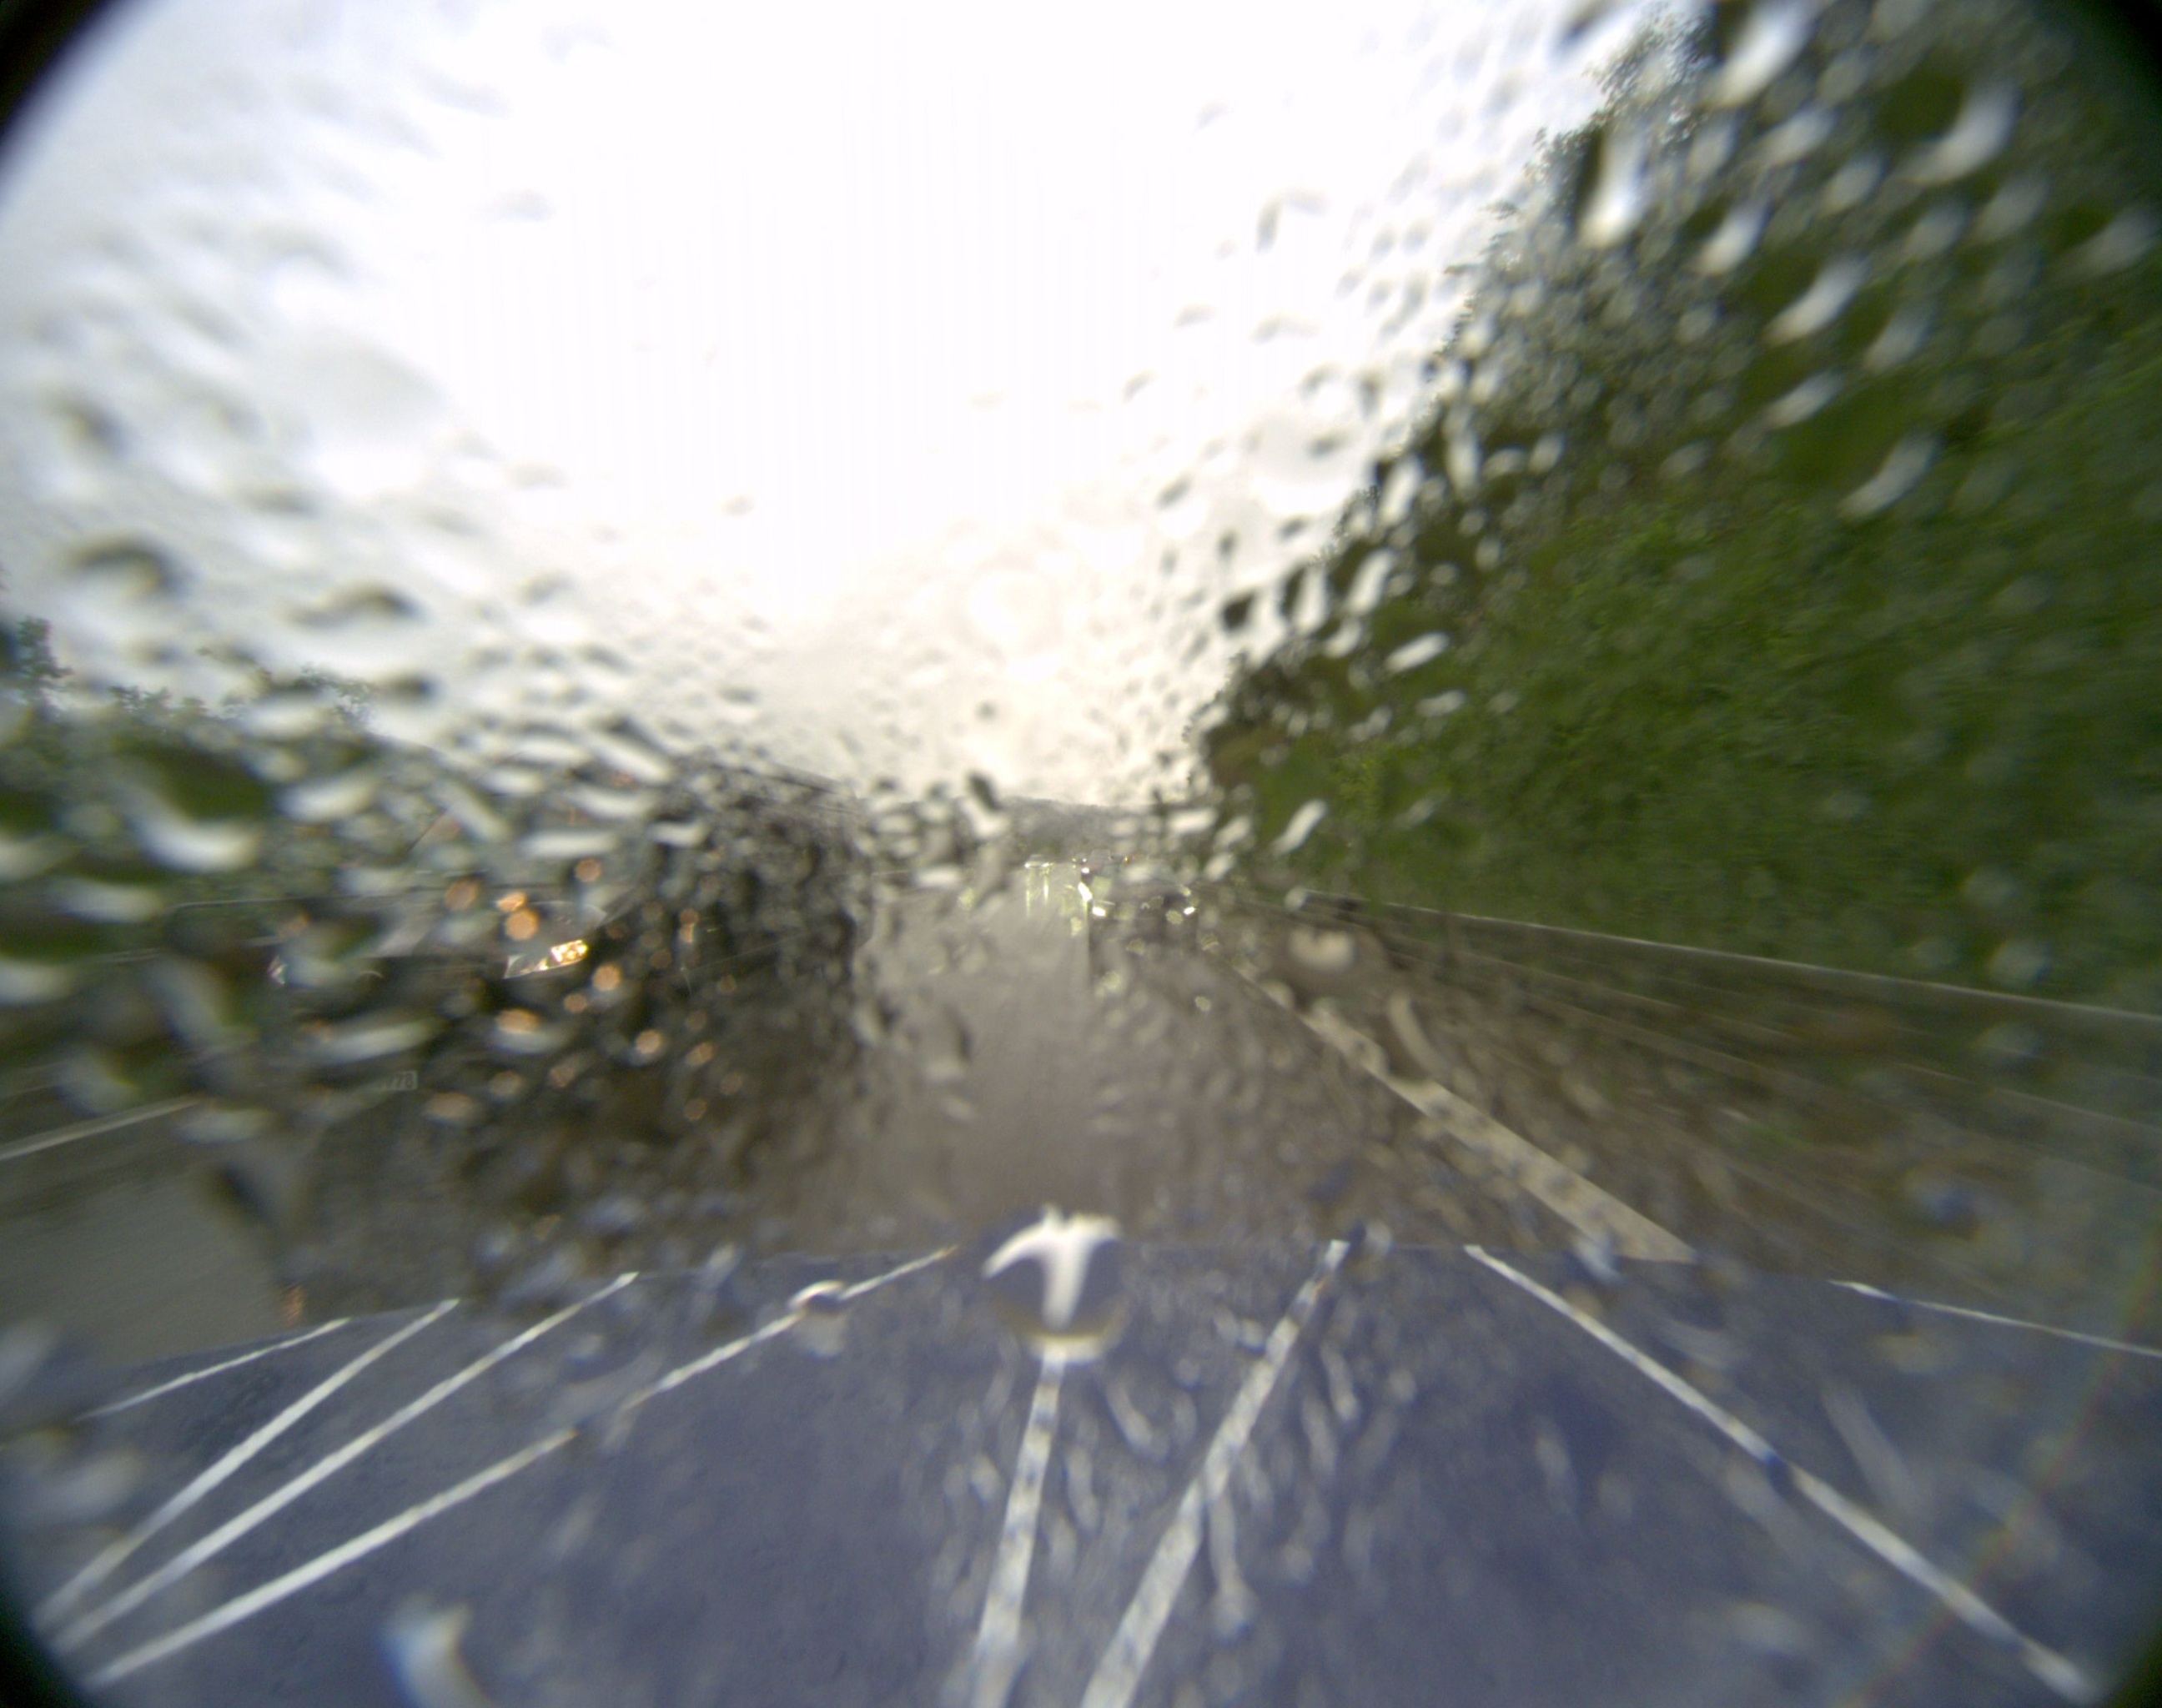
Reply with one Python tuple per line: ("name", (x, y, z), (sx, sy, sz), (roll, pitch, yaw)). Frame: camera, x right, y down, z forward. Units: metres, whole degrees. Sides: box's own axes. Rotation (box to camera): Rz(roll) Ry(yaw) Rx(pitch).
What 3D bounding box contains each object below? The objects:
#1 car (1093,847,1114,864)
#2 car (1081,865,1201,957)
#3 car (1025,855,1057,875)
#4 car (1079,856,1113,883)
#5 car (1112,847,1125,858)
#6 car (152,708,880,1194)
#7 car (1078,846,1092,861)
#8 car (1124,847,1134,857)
("car", (2.200, 0.162, 71.803), (1.906, 1.545, 4.564), (0, 1, 3))
("car", (0.974, 0.917, 13.886), (1.839, 1.316, 4.135), (-1, 0, 1))
("car", (-3.054, 0.802, 59.053), (1.990, 1.407, 4.564), (0, 1, 3))
("car", (0.856, 0.806, 41.719), (1.712, 1.316, 3.945), (-1, 1, 3))
("car", (5.496, -0.238, 112.059), (1.657, 1.535, 3.665), (-2, 1, 7))
("car", (-3.824, 0.518, 7.322), (1.999, 2.479, 6.704), (-2, 0, -1))
("car", (0.594, -0.119, 101.010), (1.765, 1.851, 3.767), (1, 1, 2))
("car", (8.298, -0.386, 130.575), (1.624, 1.713, 3.414), (1, 1, 6))
